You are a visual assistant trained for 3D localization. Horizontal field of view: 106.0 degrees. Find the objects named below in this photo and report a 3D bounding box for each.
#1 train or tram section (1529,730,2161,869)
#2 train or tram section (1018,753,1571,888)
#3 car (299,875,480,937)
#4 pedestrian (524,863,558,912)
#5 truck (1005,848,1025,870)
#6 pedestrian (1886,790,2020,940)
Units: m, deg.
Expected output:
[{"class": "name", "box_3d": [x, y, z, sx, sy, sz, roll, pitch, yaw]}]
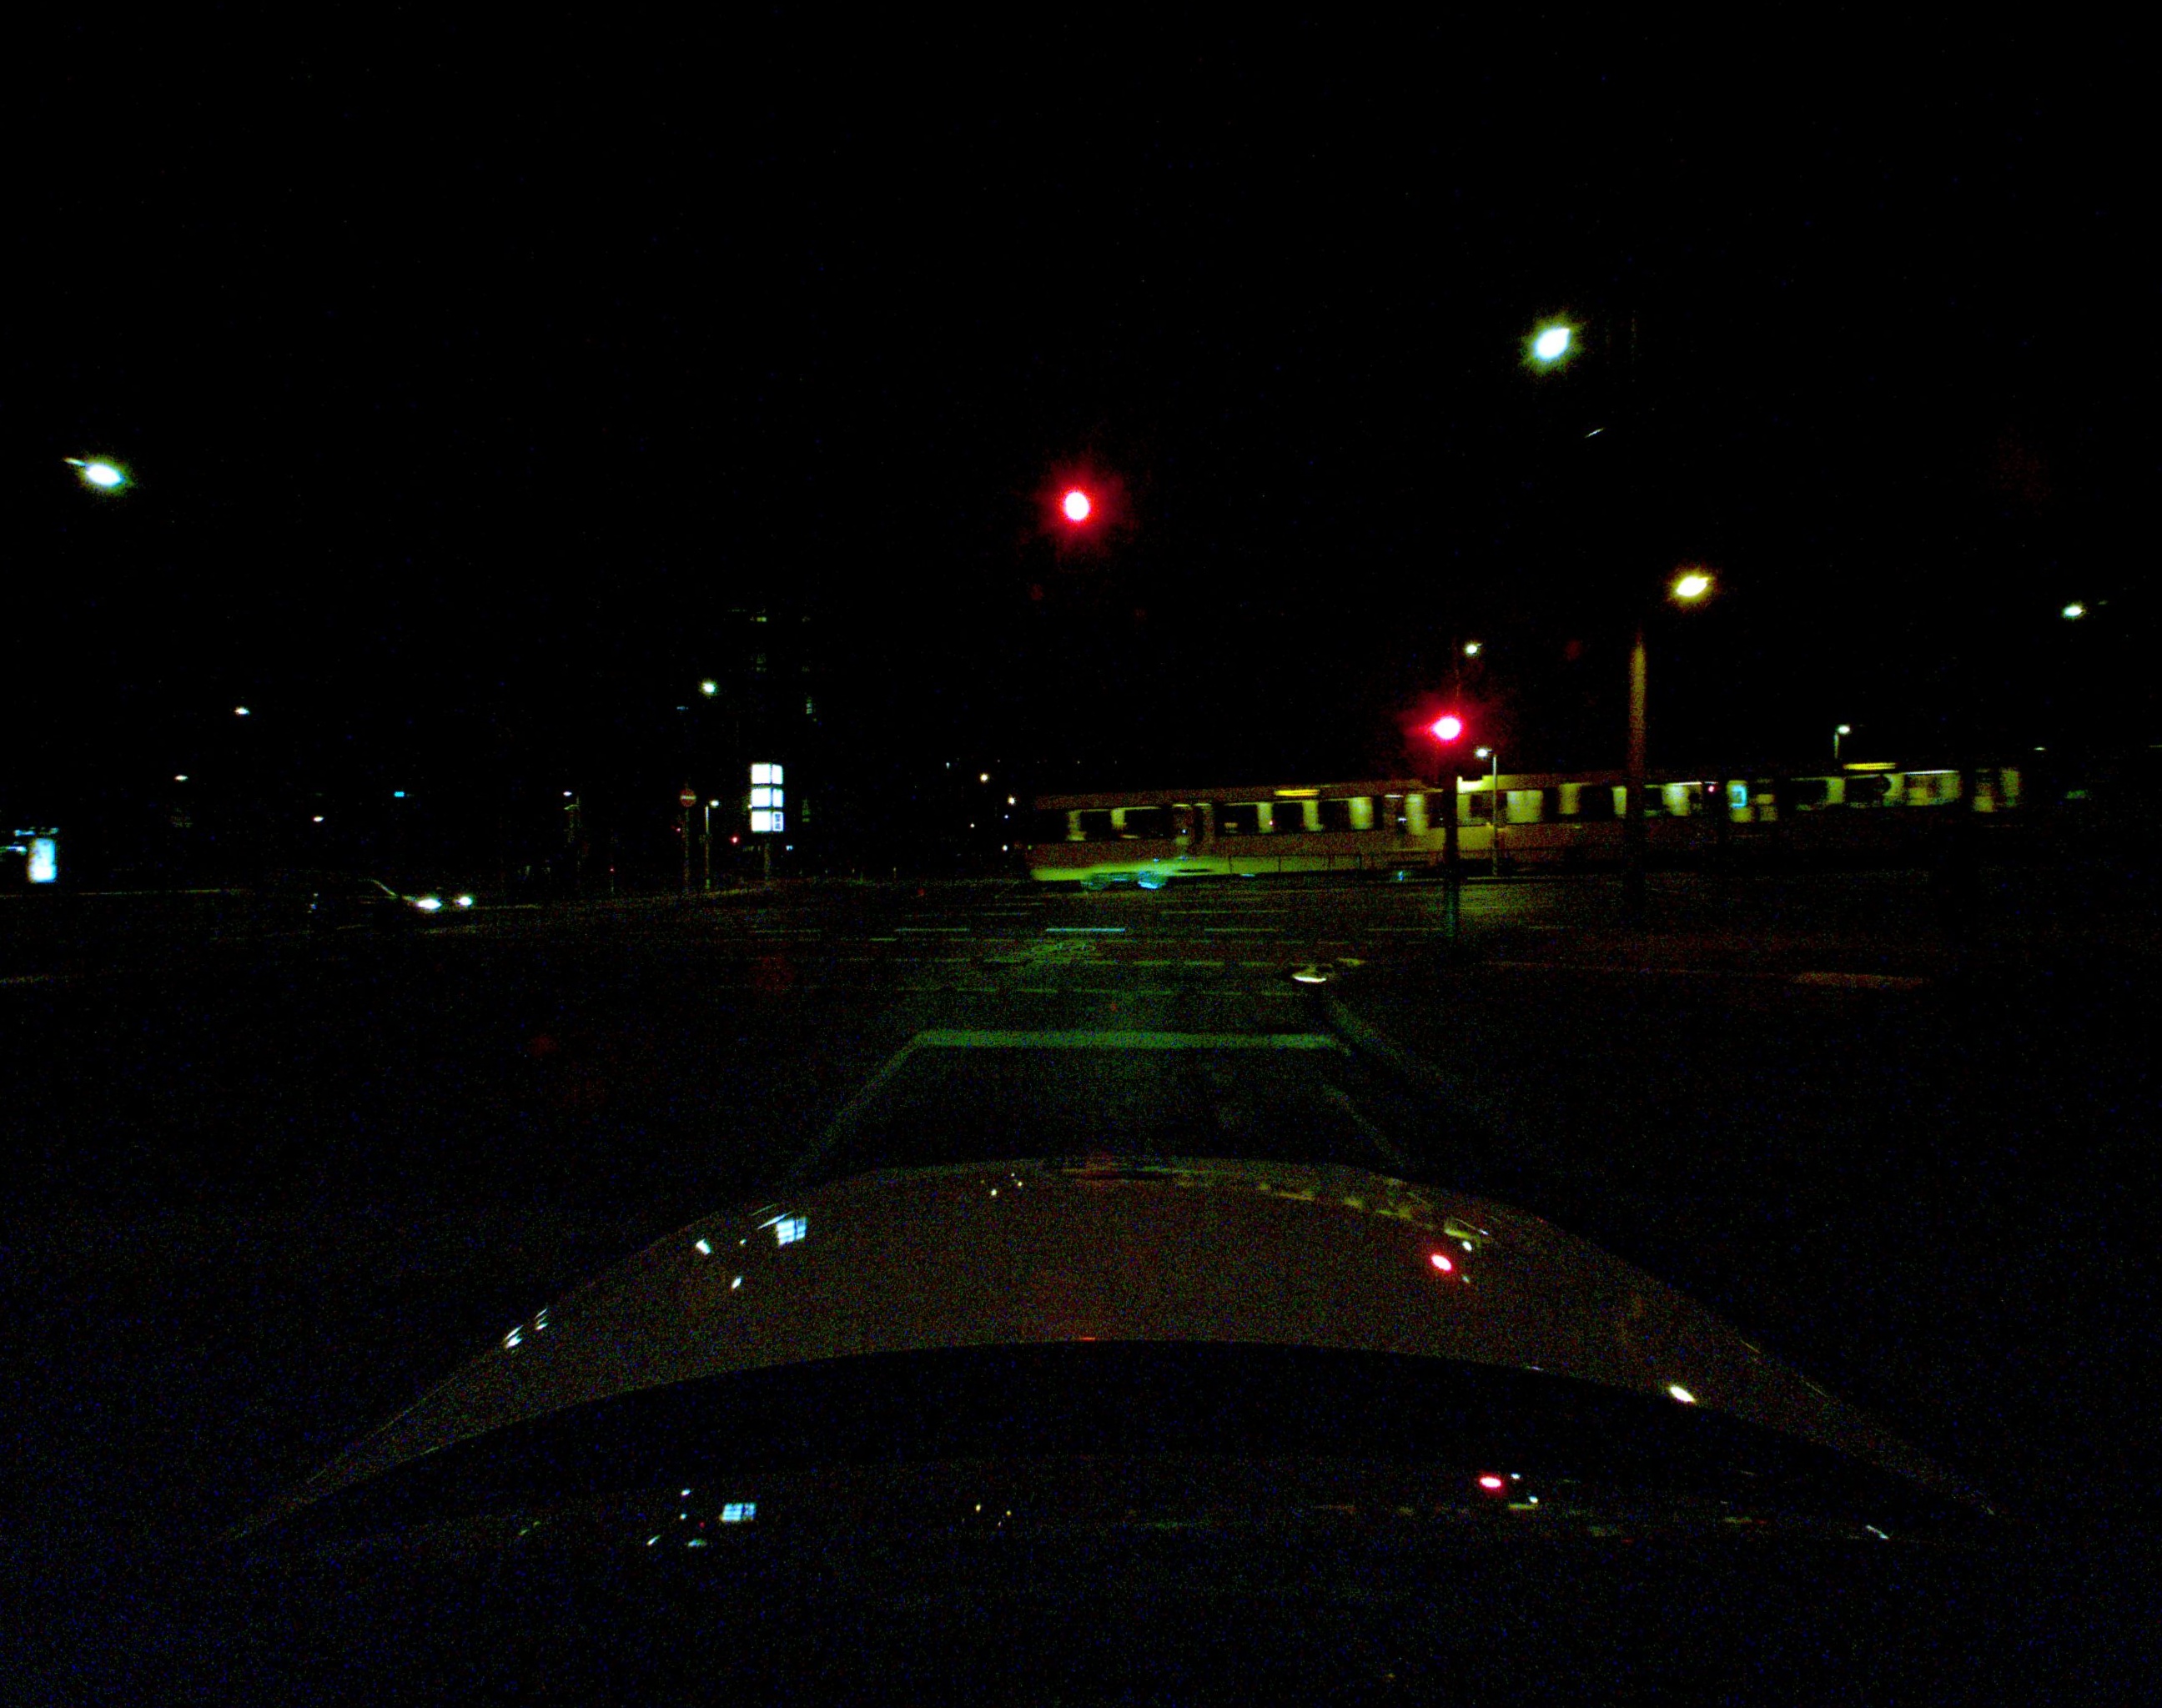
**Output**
[{"class": "train or tram section", "box_3d": [25.641, -1.687, 27.457, 18.759, 3.850, 2.970, -2, -1, 5]}, {"class": "train or tram section", "box_3d": [7.162, -1.129, 29.194, 18.326, 3.849, 2.971, -2, 2, 5]}, {"class": "car", "box_3d": [-19.066, 1.420, 22.541, 3.669, 1.420, 1.646, -3, 1, 6]}, {"class": "pedestrian", "box_3d": [-18.987, 1.164, 28.639, 0.700, 1.722, 0.681, -1, -1, 10]}, {"class": "truck", "box_3d": [-9.913, 0.765, 121.943, 2.419, 3.089, 6.413, 0, -1, -11]}, {"class": "pedestrian", "box_3d": [10.293, 0.144, 9.662, 0.870, 1.656, 0.843, -7, -4, 42]}]
